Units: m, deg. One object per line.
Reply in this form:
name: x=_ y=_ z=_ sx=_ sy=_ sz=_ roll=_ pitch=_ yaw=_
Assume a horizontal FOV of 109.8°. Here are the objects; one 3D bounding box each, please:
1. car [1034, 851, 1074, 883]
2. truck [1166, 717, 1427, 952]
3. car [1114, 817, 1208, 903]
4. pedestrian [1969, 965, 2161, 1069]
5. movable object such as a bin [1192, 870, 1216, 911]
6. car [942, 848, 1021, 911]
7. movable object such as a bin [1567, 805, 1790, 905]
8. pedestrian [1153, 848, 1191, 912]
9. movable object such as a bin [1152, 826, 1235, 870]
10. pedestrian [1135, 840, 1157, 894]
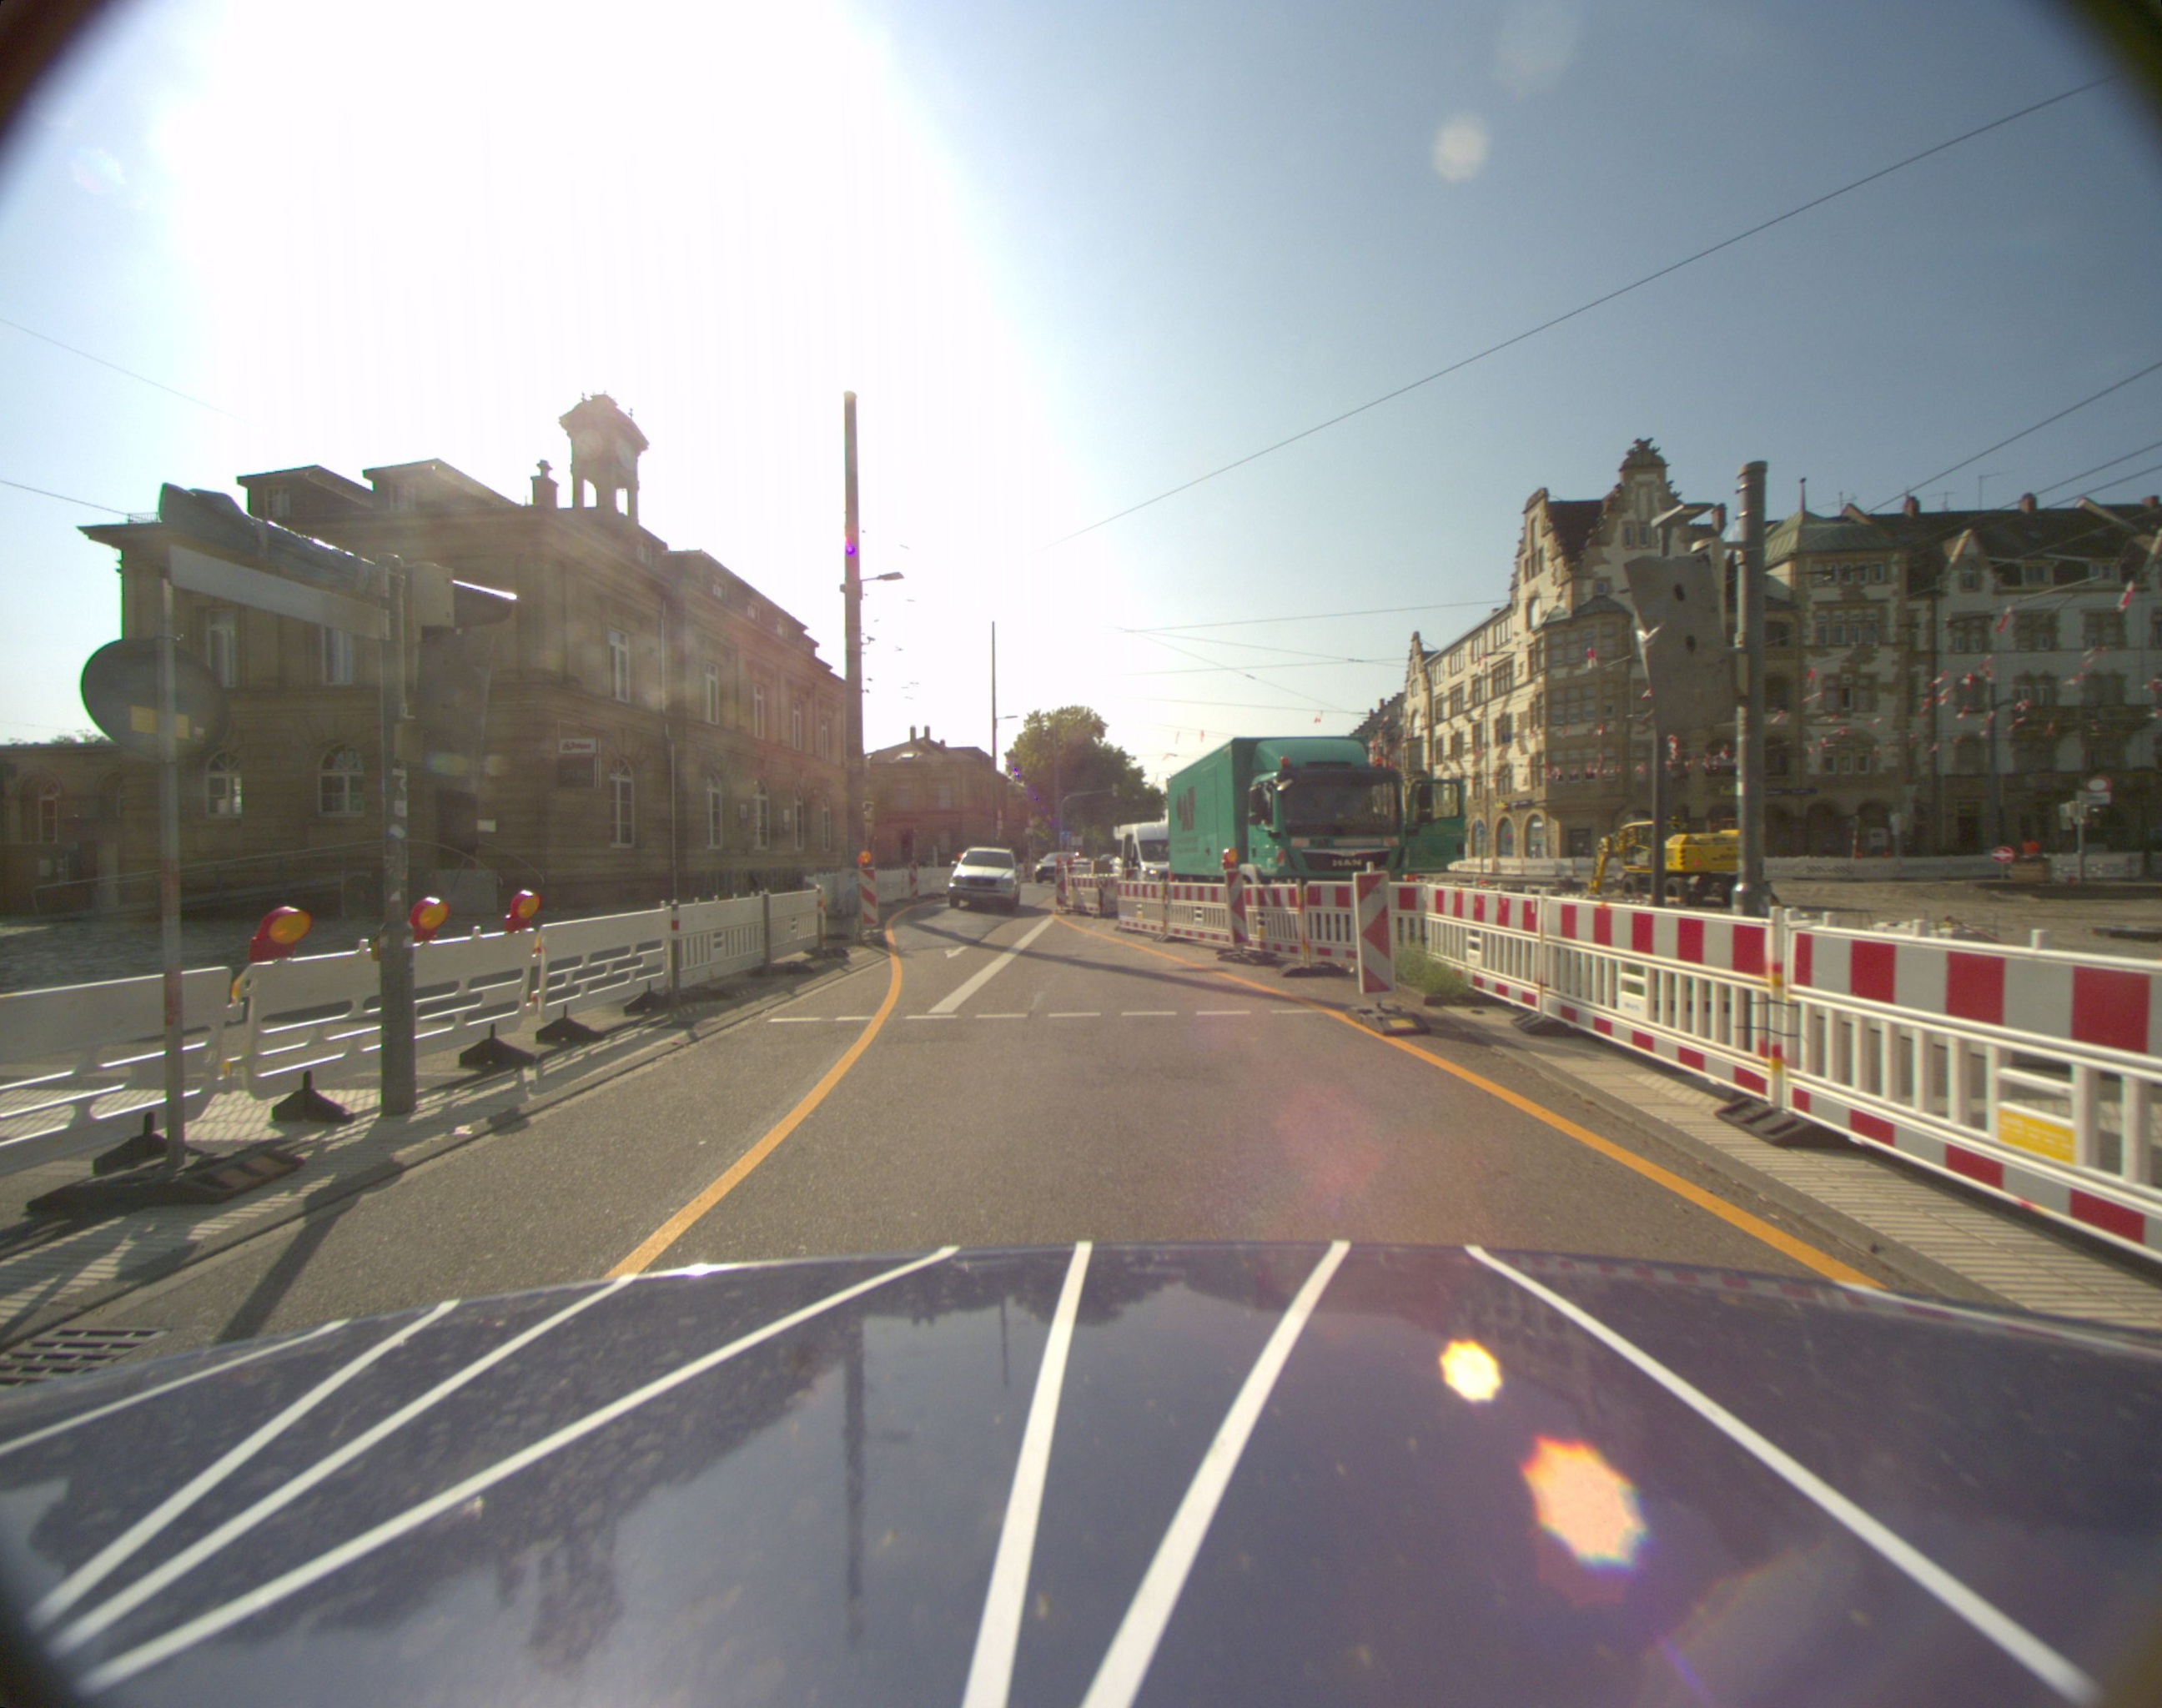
car: x=-1.591 y=0.673 z=42.448 sx=1.999 sy=1.685 sz=5.223 roll=0 pitch=0 yaw=-5
truck: x=3.846 y=-0.320 z=15.989 sx=2.681 sy=3.657 sz=8.210 roll=0 pitch=0 yaw=-4
car: x=2.657 y=0.155 z=26.656 sx=2.232 sy=2.713 sz=5.167 roll=-1 pitch=1 yaw=-7
pedestrian: x=8.563 y=1.267 z=5.984 sx=1.905 sy=0.632 sz=0.913 roll=0 pitch=0 yaw=9
movable object such as a bin: x=3.447 y=1.004 z=21.293 sx=0.644 sy=1.086 sz=1.482 roll=0 pitch=1 yaw=9
car: x=-2.903 y=0.676 z=23.210 sx=1.999 sy=1.686 sz=5.223 roll=0 pitch=1 yaw=-3
movable object such as a bin: x=22.578 y=-0.005 z=29.523 sx=2.852 sy=3.310 sz=8.349 roll=0 pitch=1 yaw=7
pedestrian: x=2.460 y=0.690 z=20.522 sx=0.705 sy=1.684 sz=0.767 roll=0 pitch=1 yaw=41
movable object such as a bin: x=8.932 y=-0.464 z=60.553 sx=6.166 sy=3.326 sz=2.114 roll=-1 pitch=1 yaw=-14
pedestrian: x=2.501 y=0.485 z=29.098 sx=0.735 sy=2.002 sz=0.908 roll=0 pitch=1 yaw=10
